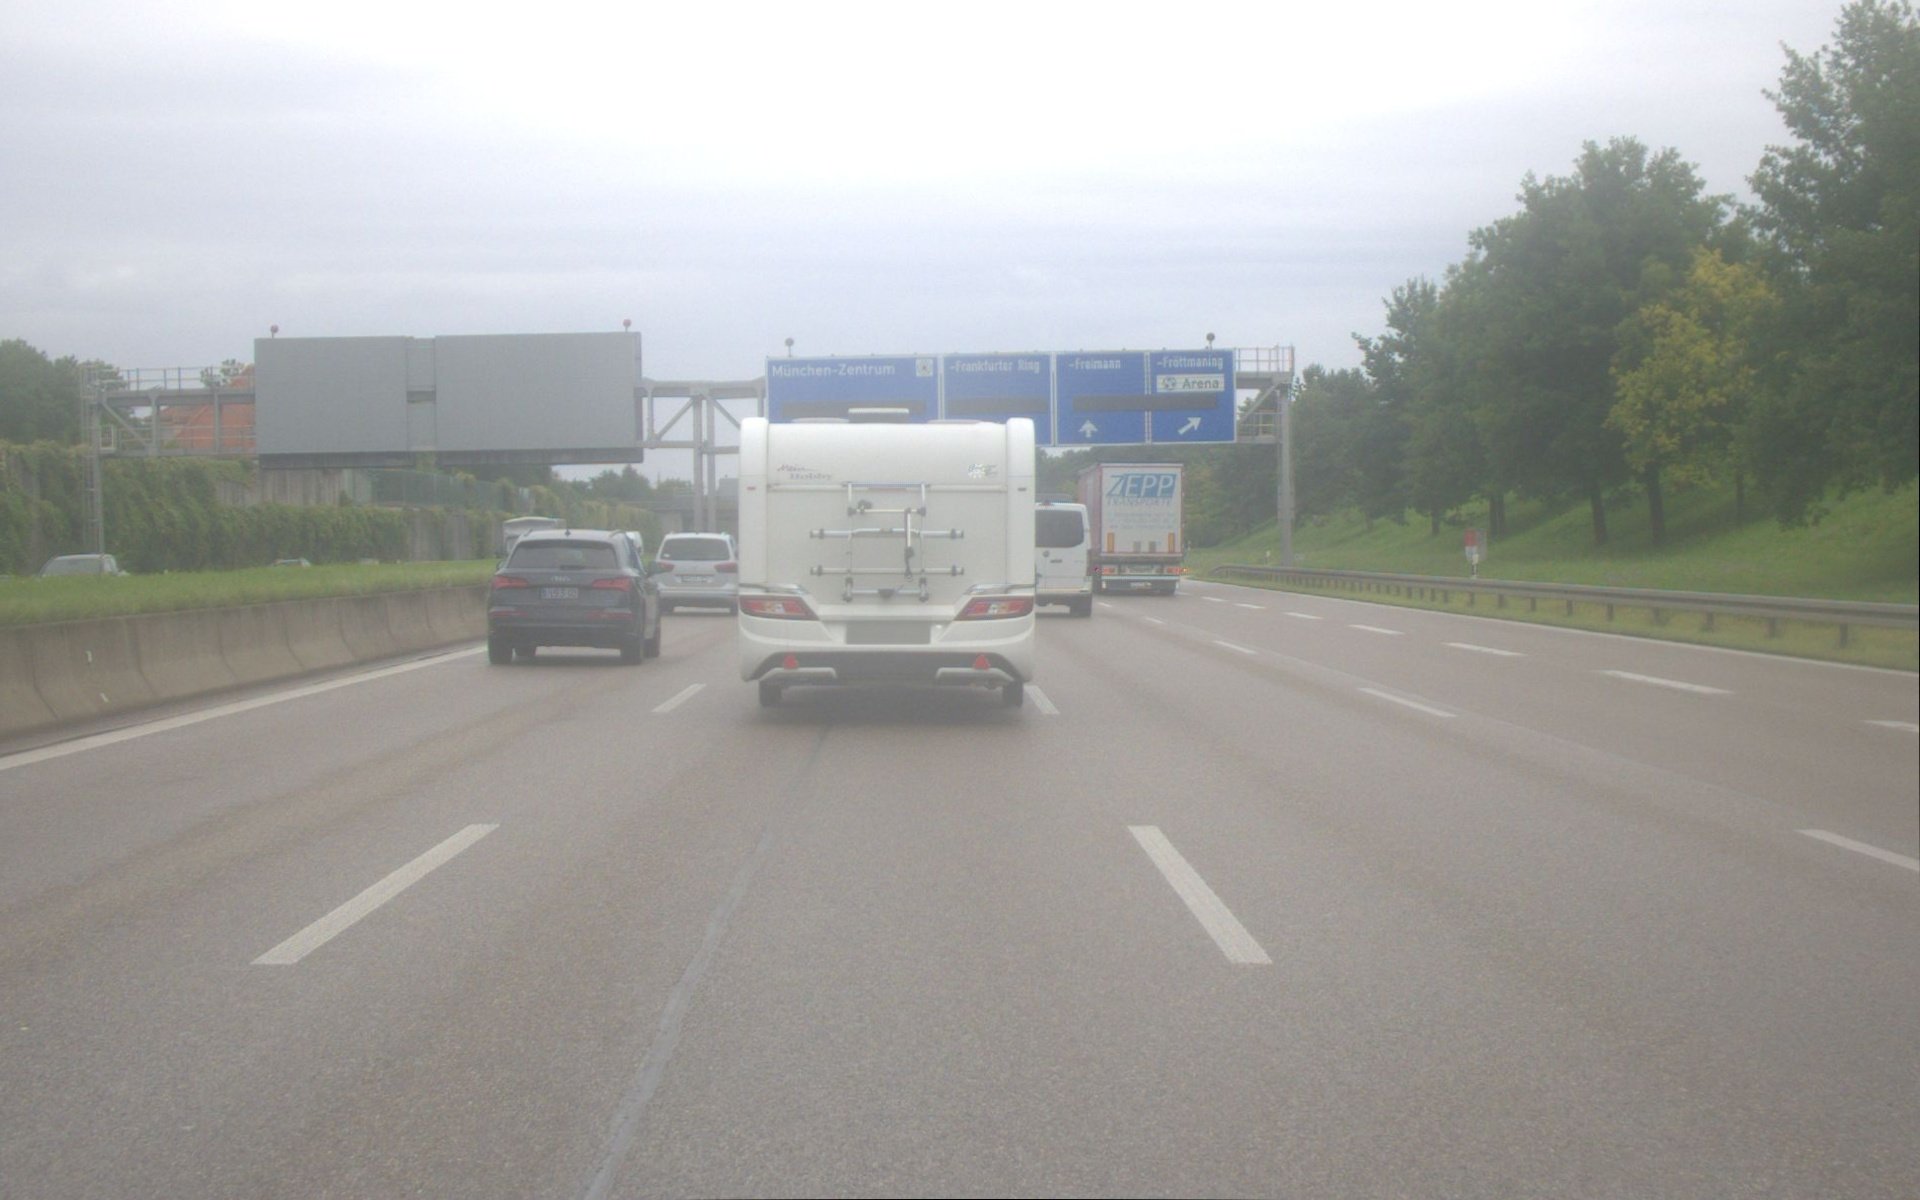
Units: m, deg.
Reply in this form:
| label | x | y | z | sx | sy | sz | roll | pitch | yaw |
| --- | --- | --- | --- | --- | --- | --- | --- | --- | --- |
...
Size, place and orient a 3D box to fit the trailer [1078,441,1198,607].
| label | x | y | z | sx | sy | sz | roll | pitch | yaw |
| --- | --- | --- | --- | --- | --- | --- | --- | --- | --- |
| trailer | 5.496 | -2.334 | 108.267 | 3.100 | 4.905 | 11.790 | 1 | 1 | 0 |

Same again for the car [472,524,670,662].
| label | x | y | z | sx | sy | sz | roll | pitch | yaw |
| --- | --- | --- | --- | --- | --- | --- | --- | --- | --- |
| car | -4.819 | -0.112 | 43.242 | 1.993 | 1.594 | 5.124 | 1 | 1 | -1 |

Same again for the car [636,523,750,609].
| label | x | y | z | sx | sy | sz | roll | pitch | yaw |
| --- | --- | --- | --- | --- | --- | --- | --- | --- | --- |
| car | -5.538 | -0.714 | 71.730 | 2.127 | 1.700 | 4.113 | 1 | 1 | -1 |

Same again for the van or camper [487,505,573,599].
| label | x | y | z | sx | sy | sz | roll | pitch | yaw |
| --- | --- | --- | --- | --- | --- | --- | --- | --- | --- |
| van or camper | -18.655 | -2.080 | 149.485 | 2.708 | 3.935 | 8.402 | 1 | 1 | -1 |

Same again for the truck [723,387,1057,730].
| label | x | y | z | sx | sy | sz | roll | pitch | yaw |
| --- | --- | --- | --- | --- | --- | --- | --- | --- | --- |
| truck | -0.626 | -0.365 | 30.355 | 2.661 | 2.733 | 5.078 | 1 | 1 | -1 |

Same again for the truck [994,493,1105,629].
| label | x | y | z | sx | sy | sz | roll | pitch | yaw |
| --- | --- | --- | --- | --- | --- | --- | --- | --- | --- |
| truck | 1.858 | -0.825 | 73.377 | 2.053 | 2.760 | 5.549 | 1 | 1 | -1 |
